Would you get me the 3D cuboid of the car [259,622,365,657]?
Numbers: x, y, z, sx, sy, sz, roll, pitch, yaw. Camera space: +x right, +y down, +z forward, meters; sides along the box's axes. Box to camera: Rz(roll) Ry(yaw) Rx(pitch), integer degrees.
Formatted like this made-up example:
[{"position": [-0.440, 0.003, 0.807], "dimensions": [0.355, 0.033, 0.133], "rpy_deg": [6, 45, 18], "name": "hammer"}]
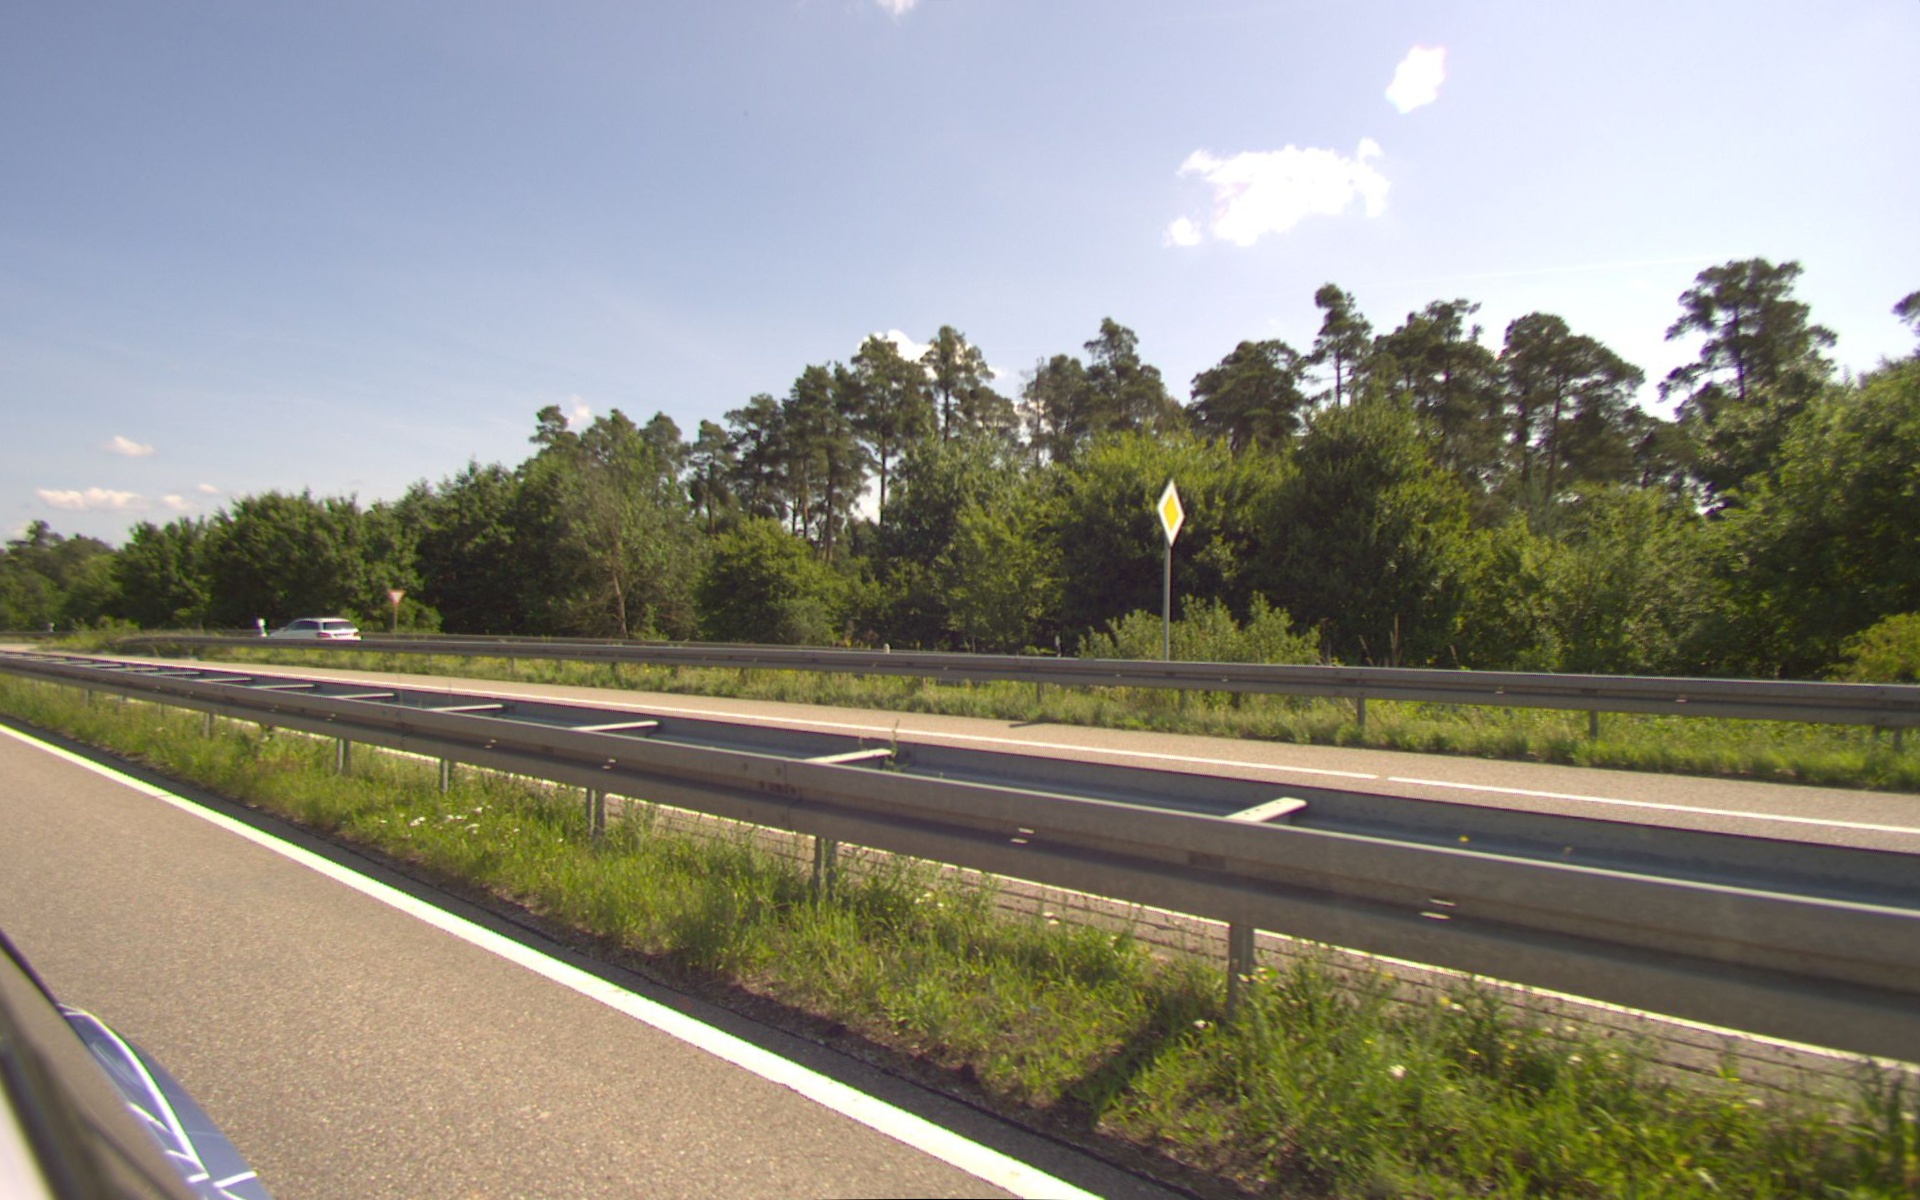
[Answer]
[{"position": [-28.058, 1.697, 43.811], "dimensions": [4.815, 1.425, 1.934], "rpy_deg": [-1, -1, 31], "name": "car"}]
